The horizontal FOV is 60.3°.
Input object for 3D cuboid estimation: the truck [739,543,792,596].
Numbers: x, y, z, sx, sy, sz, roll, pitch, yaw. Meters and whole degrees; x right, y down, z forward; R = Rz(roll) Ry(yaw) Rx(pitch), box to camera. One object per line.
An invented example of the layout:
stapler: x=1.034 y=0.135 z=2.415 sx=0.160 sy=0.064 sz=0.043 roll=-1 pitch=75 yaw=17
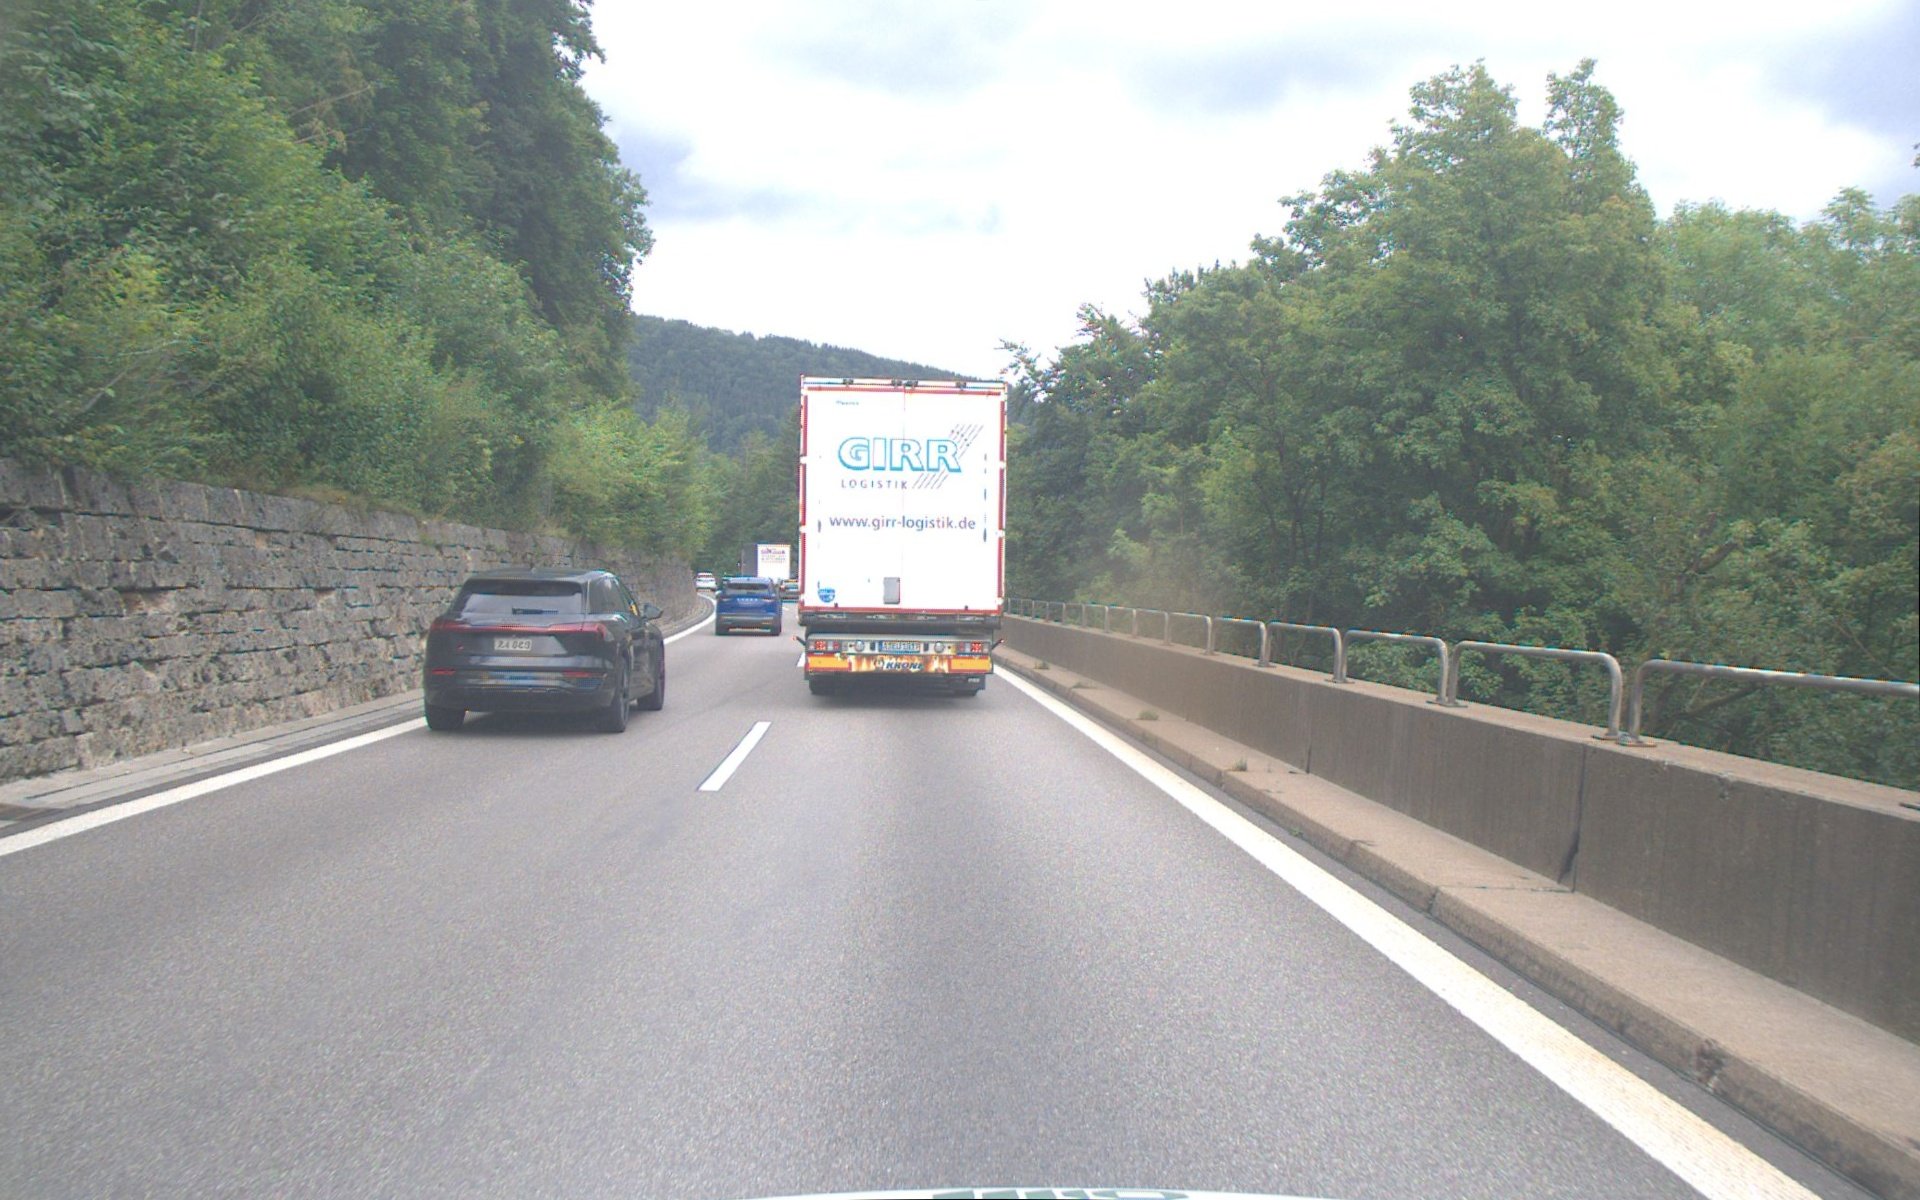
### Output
truck: x=-15.164 y=-2.321 z=128.238 sx=2.589 sy=3.925 sz=12.316 roll=0 pitch=0 yaw=-13

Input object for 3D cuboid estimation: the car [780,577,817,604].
car: x=-10.458 y=-0.599 z=106.866 sx=2.023 sy=1.683 sz=3.990 roll=0 pitch=0 yaw=-11

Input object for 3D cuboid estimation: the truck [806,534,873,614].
truck: x=-4.685 y=-0.979 z=63.599 sx=2.167 sy=2.901 sz=4.995 roll=2 pitch=0 yaw=-8

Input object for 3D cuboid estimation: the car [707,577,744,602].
car: x=-16.011 y=-0.714 z=112.879 sx=1.961 sy=1.623 sz=4.336 roll=-1 pitch=1 yaw=-15

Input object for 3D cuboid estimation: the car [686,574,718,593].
car: x=-22.539 y=-1.447 z=144.598 sx=1.870 sy=1.577 sz=4.223 roll=2 pitch=1 yaw=-21

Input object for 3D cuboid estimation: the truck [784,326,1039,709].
truck: x=-1.090 y=-1.028 z=27.326 sx=3.023 sy=4.542 sz=15.143 roll=0 pitch=0 yaw=-4

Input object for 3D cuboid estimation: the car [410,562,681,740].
car: x=-4.287 y=0.459 z=17.944 sx=1.954 sy=1.660 sz=5.005 roll=0 pitch=0 yaw=-4

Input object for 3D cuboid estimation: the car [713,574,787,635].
car: x=-6.023 y=0.104 z=47.996 sx=1.955 sy=1.660 sz=5.003 roll=0 pitch=0 yaw=-5
